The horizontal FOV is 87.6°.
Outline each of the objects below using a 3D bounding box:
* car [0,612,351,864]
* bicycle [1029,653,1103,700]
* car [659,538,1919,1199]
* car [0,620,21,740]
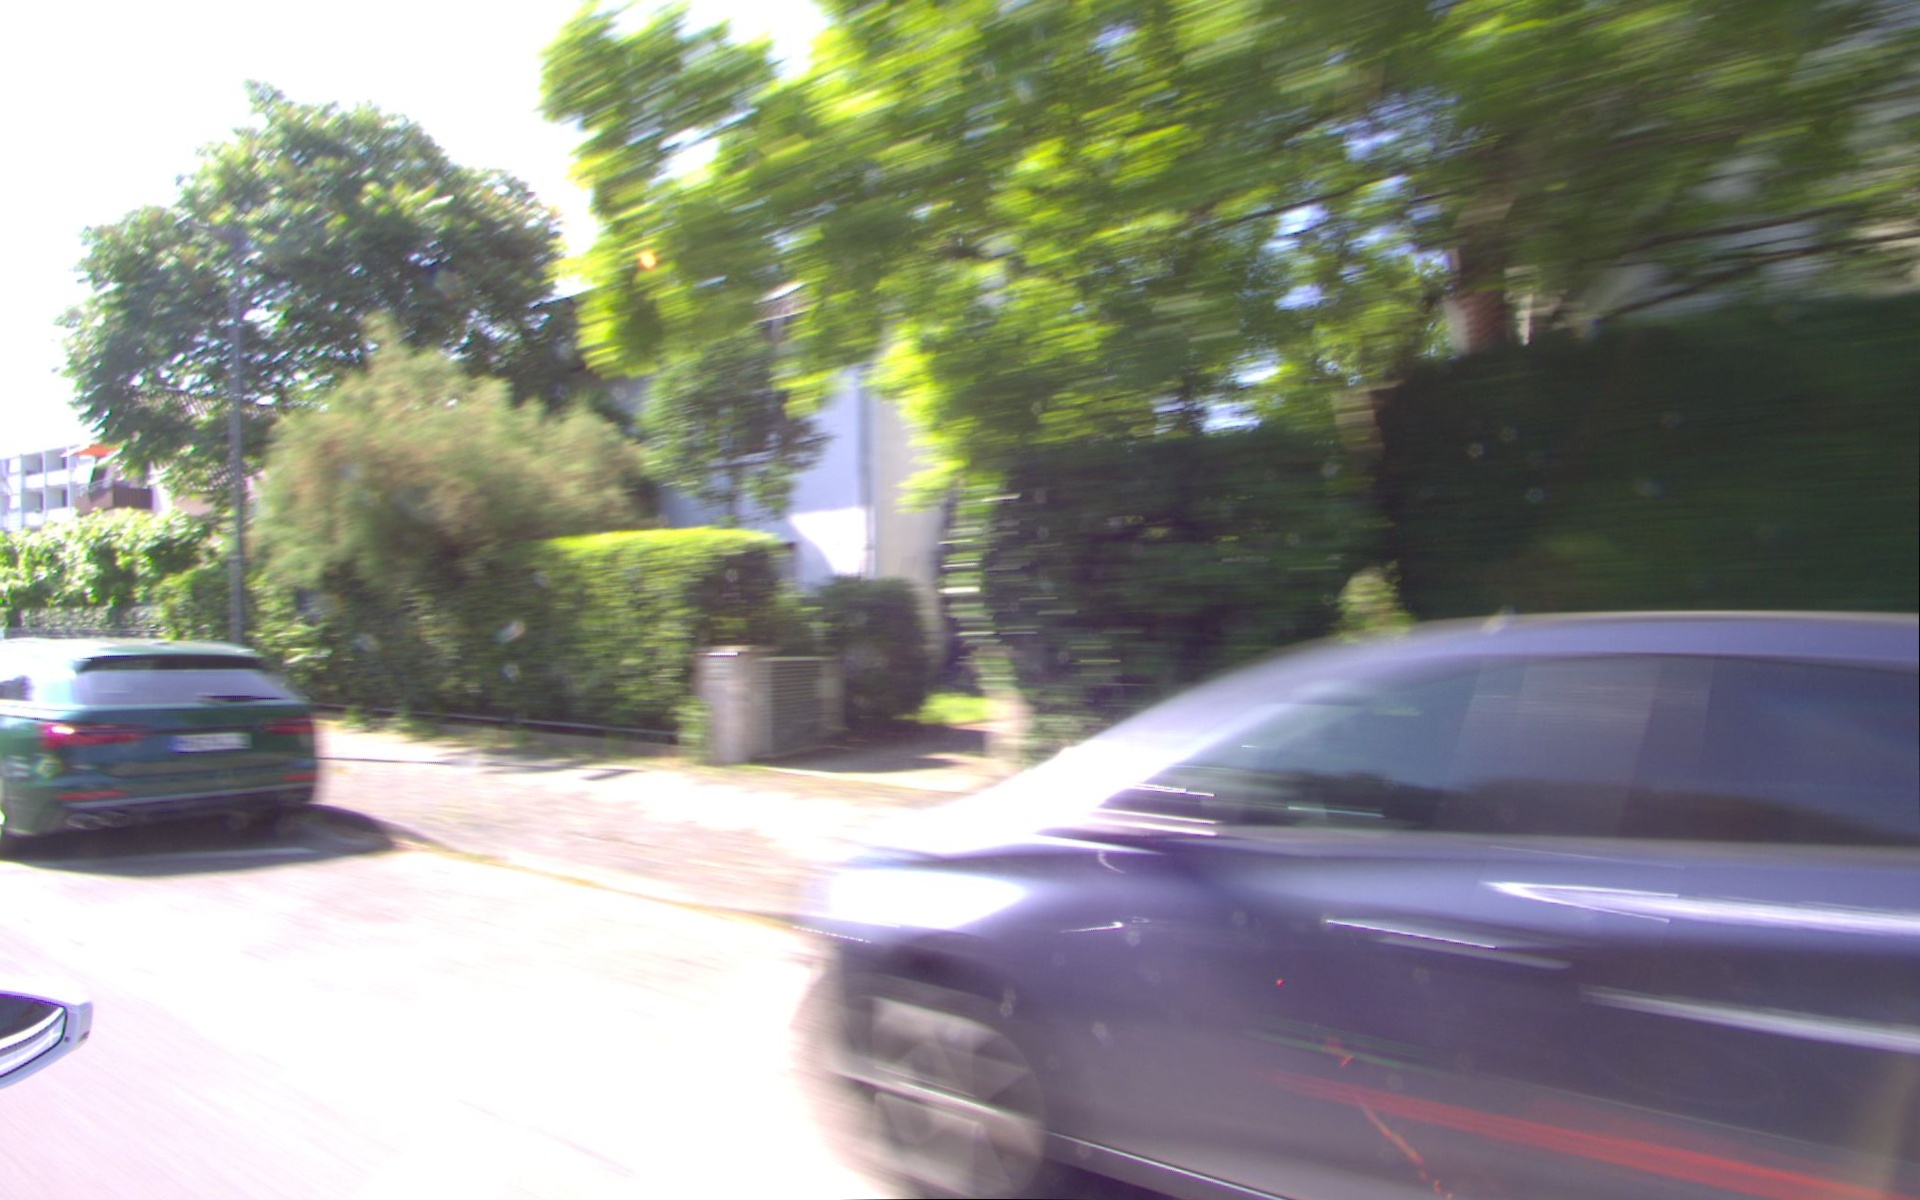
[{"bbox_3d":[-7.000,0.894,8.030,4.723,1.481,1.809,0,-4,35],"label":"car"},{"bbox_3d":[1.948,1.369,18.169,0.607,0.737,1.764,0,-1,33],"label":"bicycle"},{"bbox_3d":[1.222,0.781,2.815,3.860,1.577,1.811,0,-5,32],"label":"car"},{"bbox_3d":[-13.763,0.986,12.676,4.009,1.462,1.759,0,0,32],"label":"car"}]
